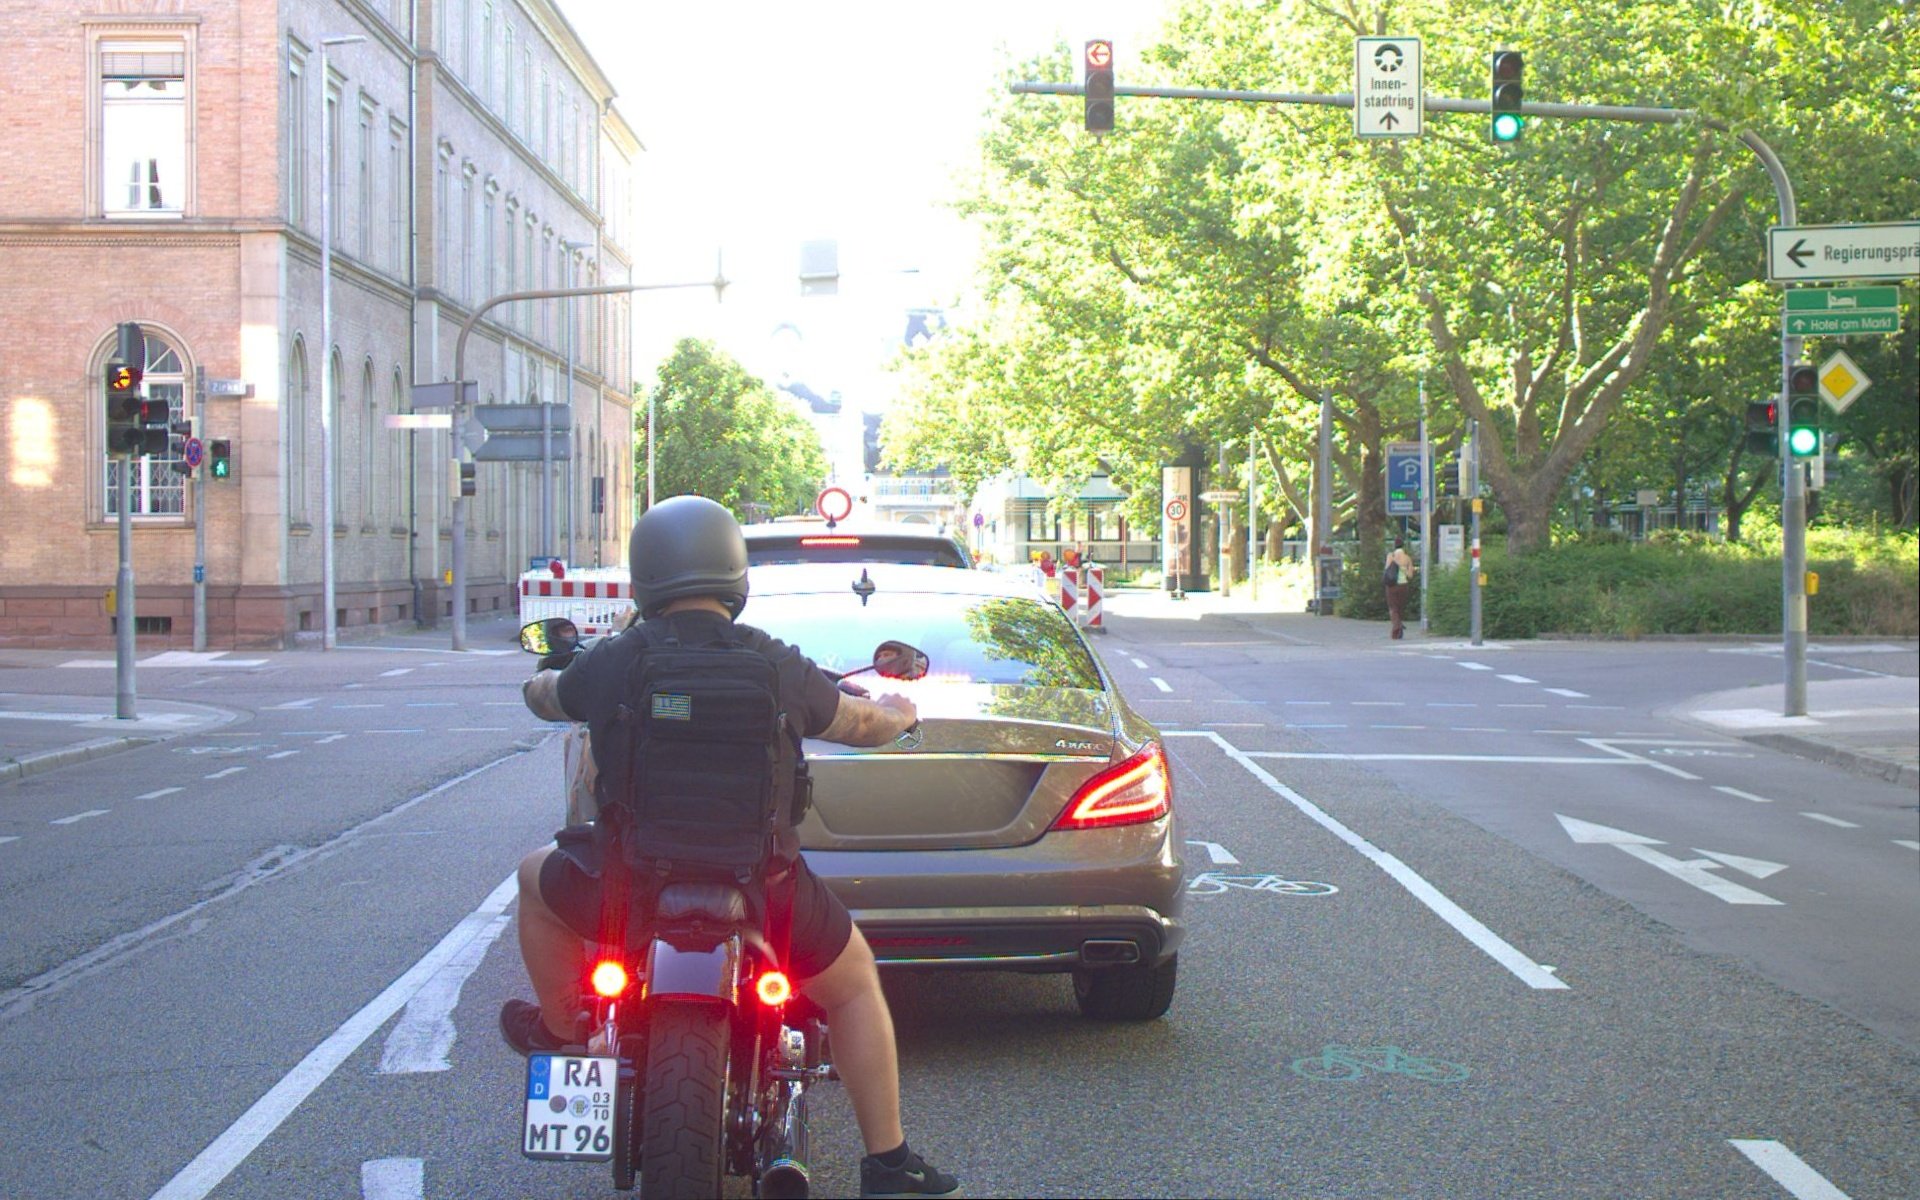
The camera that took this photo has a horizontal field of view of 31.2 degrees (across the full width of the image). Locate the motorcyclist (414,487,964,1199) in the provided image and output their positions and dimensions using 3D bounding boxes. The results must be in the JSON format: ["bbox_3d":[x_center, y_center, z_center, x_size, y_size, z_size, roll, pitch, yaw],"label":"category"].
[{"bbox_3d":[-0.557,0.563,7.572,1.113,1.607,1.202,0,1,-1],"label":"motorcyclist"}]

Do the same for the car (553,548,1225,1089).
[{"bbox_3d":[-0.442,0.564,11.641,1.821,1.471,4.354,0,1,-7],"label":"car"}]

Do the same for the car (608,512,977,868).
[{"bbox_3d":[-0.823,0.378,17.568,1.681,1.619,3.841,0,1,-2],"label":"car"}]

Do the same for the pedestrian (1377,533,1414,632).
[{"bbox_3d":[7.388,-0.302,58.316,0.559,1.672,0.565,0,1,-1],"label":"pedestrian"}]

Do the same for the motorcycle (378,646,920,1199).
[{"bbox_3d":[-0.595,0.748,7.742,1.007,1.200,2.665,0,1,-1],"label":"motorcycle"}]
